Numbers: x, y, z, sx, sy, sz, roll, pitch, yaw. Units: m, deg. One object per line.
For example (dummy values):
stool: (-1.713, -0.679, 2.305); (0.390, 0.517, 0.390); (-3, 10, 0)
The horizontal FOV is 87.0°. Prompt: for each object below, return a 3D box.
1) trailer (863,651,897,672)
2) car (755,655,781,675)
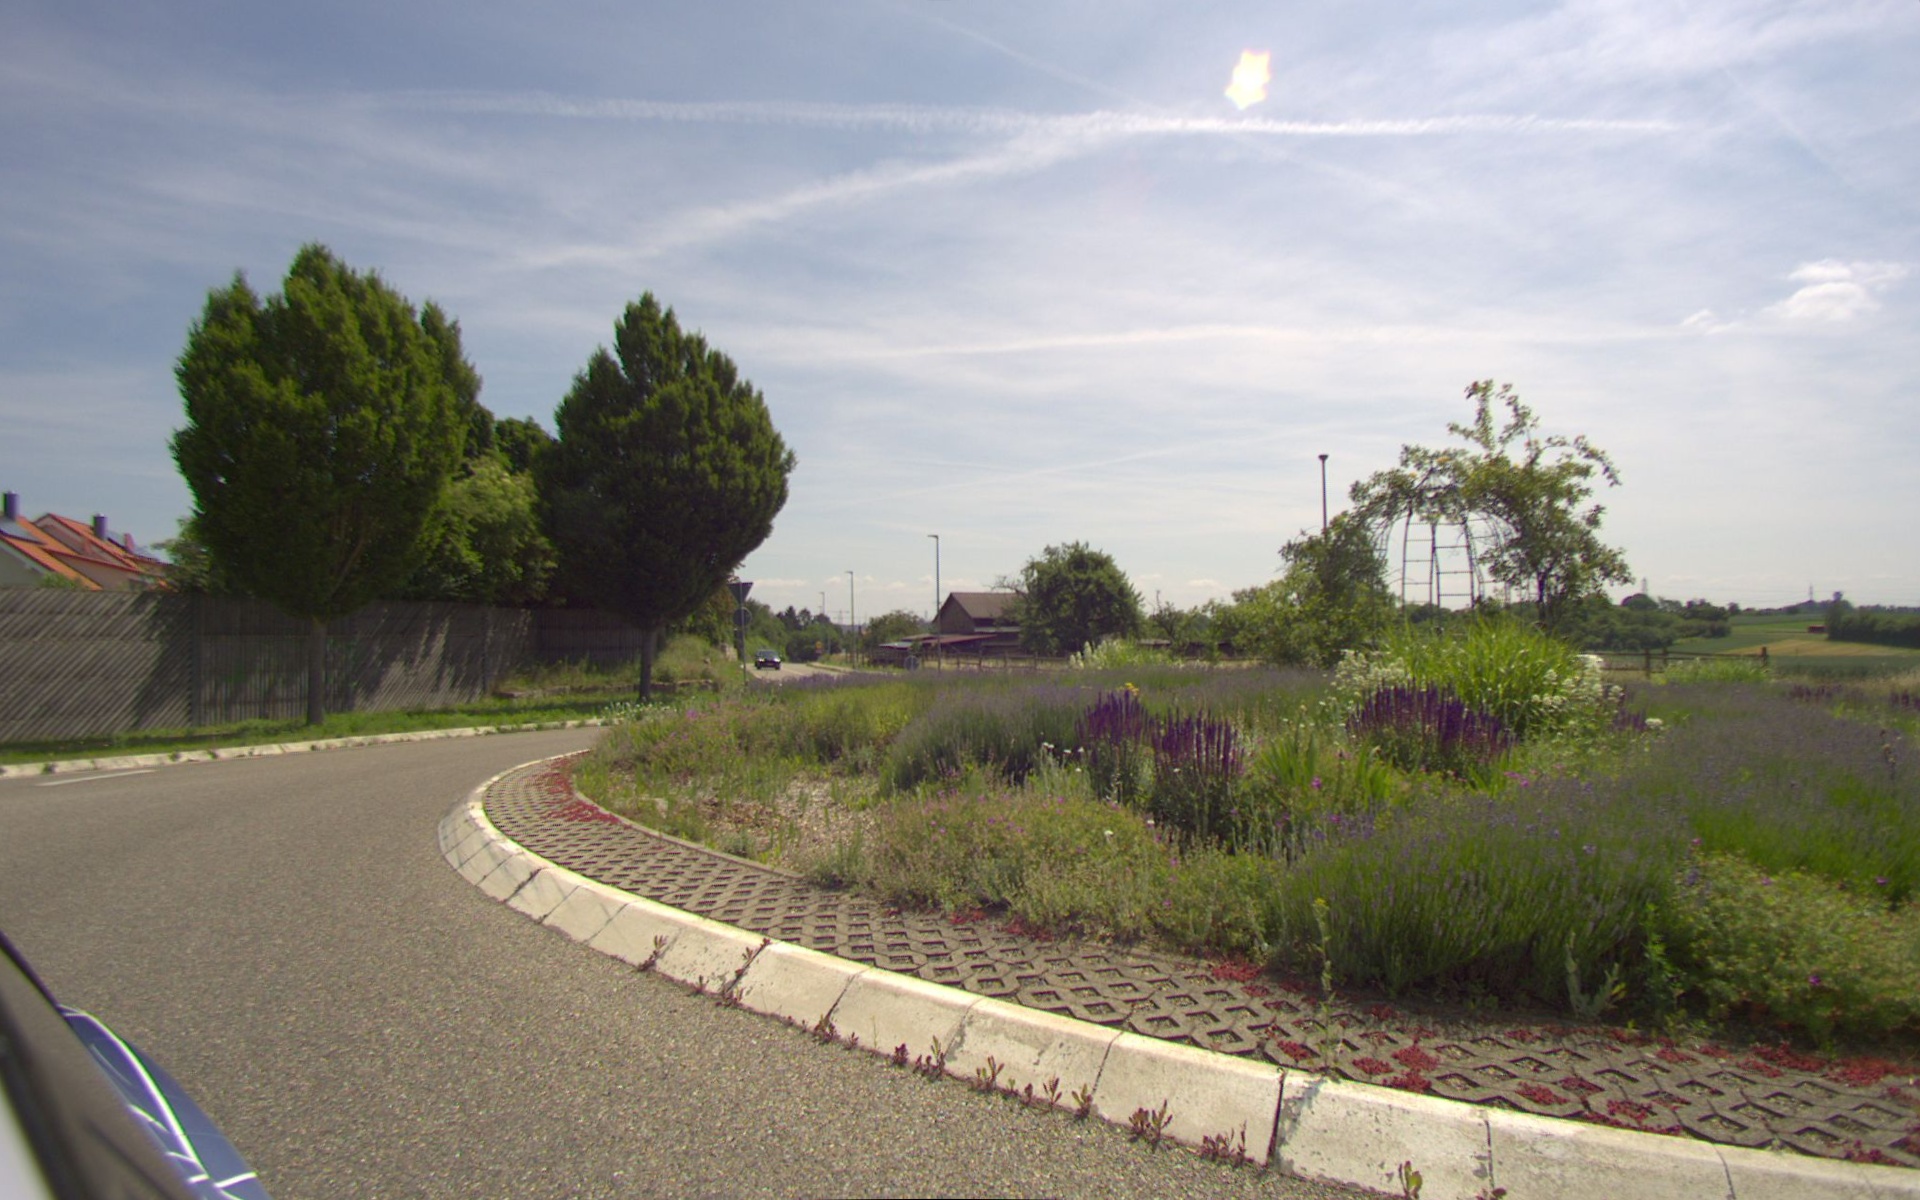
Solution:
trailer: (-6.994, 5.327, 87.830); (2.126, 1.716, 5.042); (1, -3, -14)
car: (-16.289, 5.518, 85.849); (1.588, 1.626, 4.234); (1, -3, -18)
